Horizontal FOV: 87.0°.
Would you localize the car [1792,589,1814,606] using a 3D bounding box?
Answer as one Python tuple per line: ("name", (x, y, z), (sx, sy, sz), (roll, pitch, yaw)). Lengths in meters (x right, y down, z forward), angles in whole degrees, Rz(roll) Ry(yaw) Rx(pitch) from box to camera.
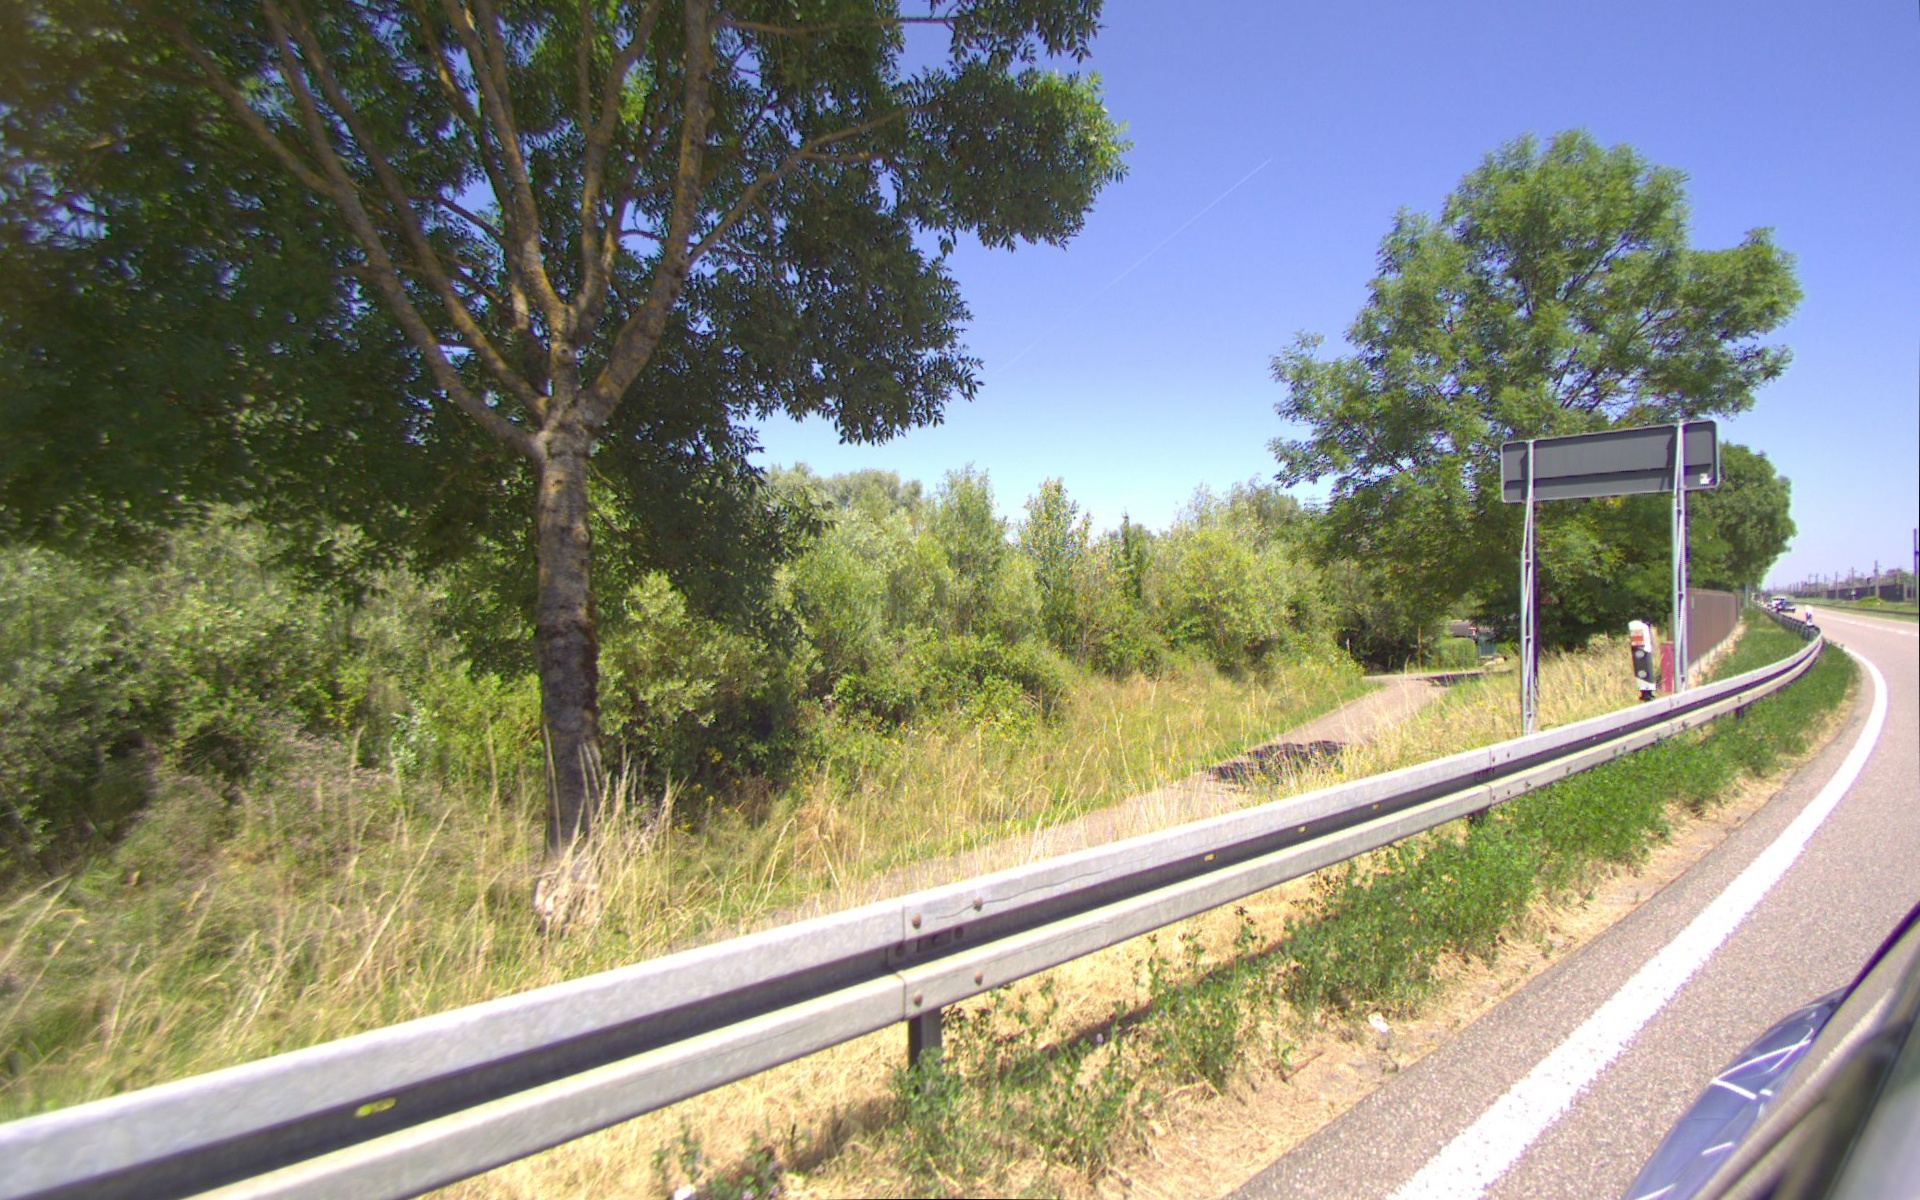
("car", (104.080, -0.358, 125.001), (1.992, 2.039, 3.940), (0, 0, 41))
